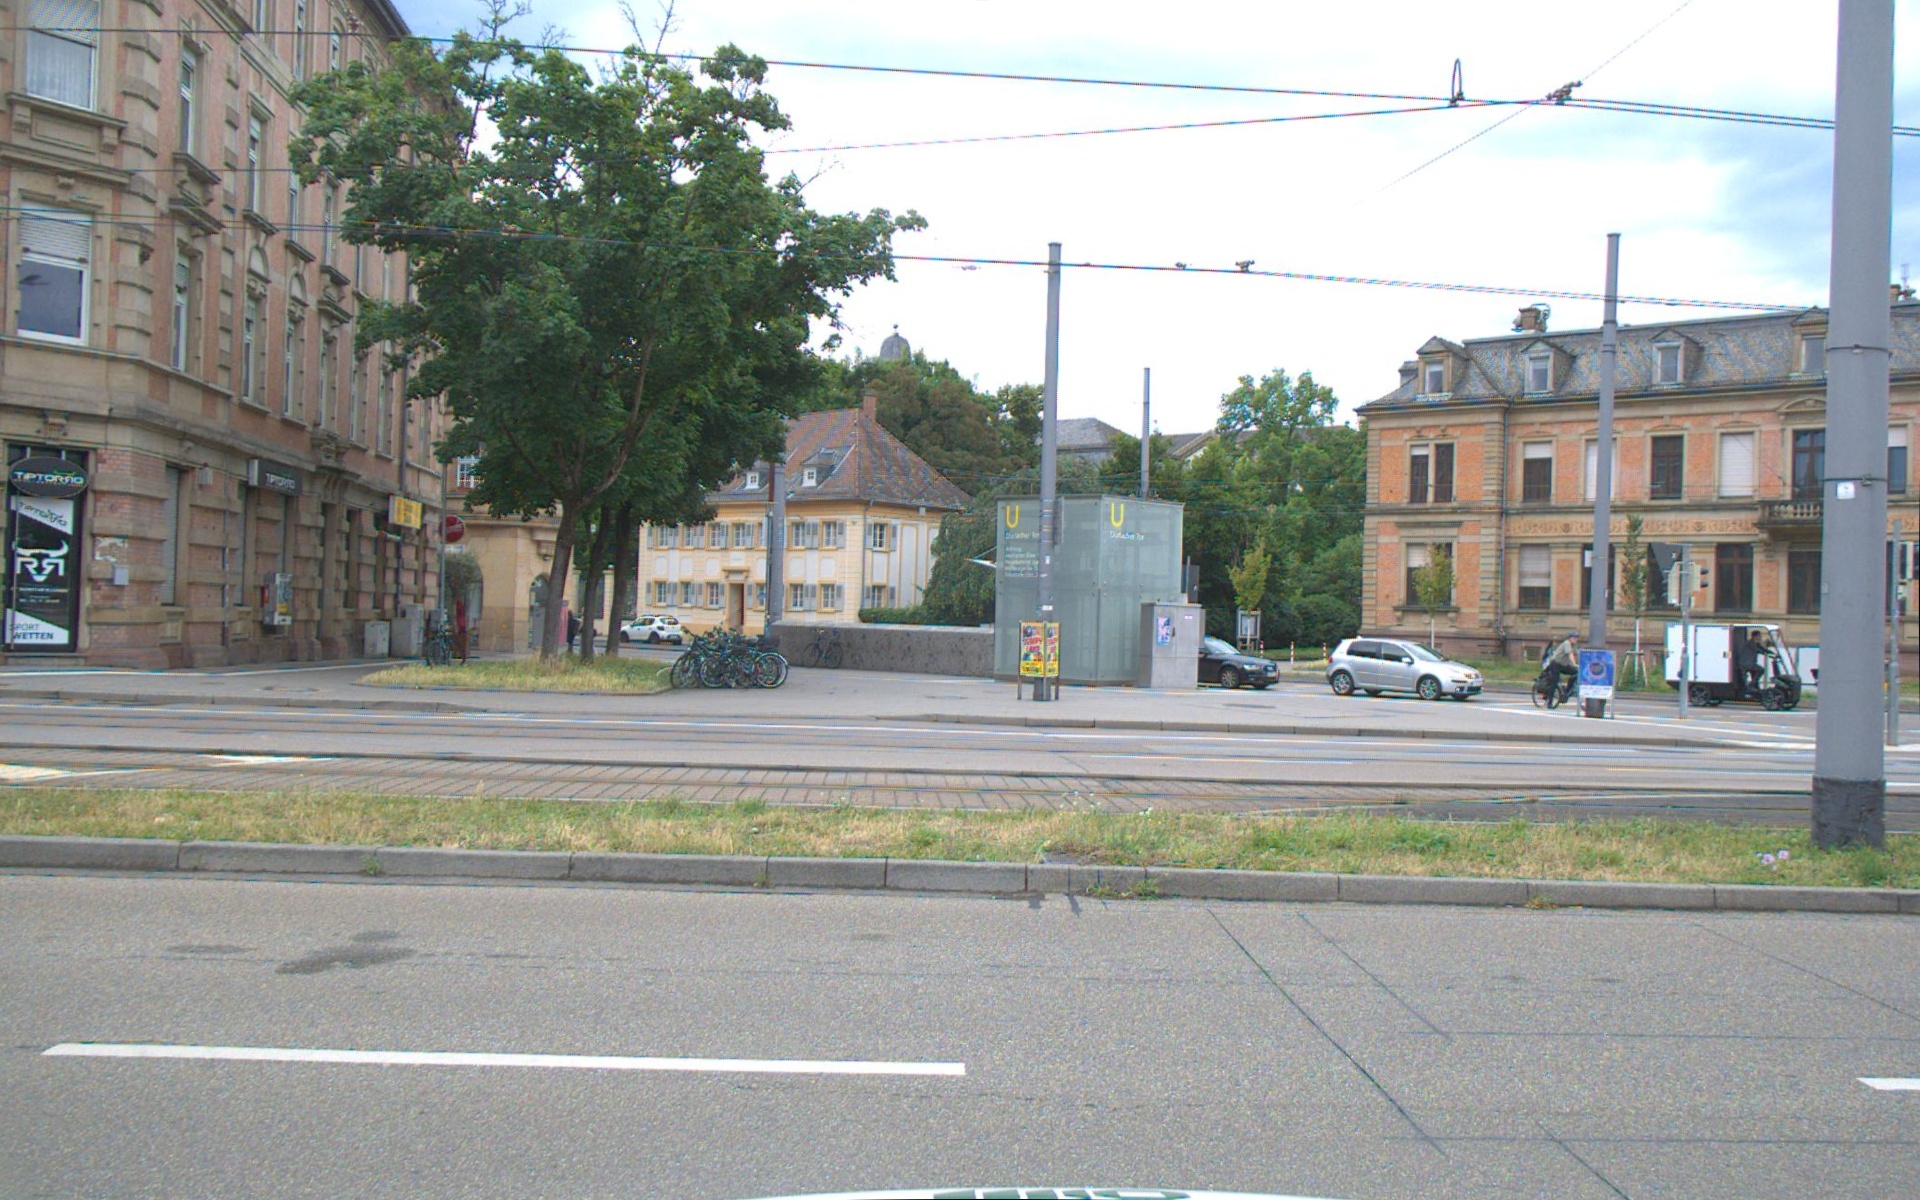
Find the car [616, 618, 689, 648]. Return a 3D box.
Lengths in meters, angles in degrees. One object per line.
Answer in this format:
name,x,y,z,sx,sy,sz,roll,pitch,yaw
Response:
car,-16.426,1.740,88.245,4.113,1.474,1.687,1,0,42

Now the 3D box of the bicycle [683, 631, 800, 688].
bicycle,-4.221,1.154,31.982,2.167,1.024,0.480,2,-1,4

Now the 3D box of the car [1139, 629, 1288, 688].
car,7.114,1.635,46.685,1.681,1.474,4.083,2,0,-40

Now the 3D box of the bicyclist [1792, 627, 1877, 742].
bicyclist,14.195,1.349,26.878,0.797,1.830,1.029,0,-1,-3

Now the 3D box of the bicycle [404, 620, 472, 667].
bicycle,-10.924,0.903,34.668,0.646,0.930,1.990,2,0,4

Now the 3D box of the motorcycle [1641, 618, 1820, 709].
motorcycle,18.841,1.512,40.539,3.625,2.049,1.684,1,-1,44

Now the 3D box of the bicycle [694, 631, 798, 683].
bicycle,-4.755,1.263,36.860,2.167,1.057,0.689,2,-1,4

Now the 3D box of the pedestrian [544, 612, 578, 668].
pedestrian,-12.586,1.256,52.222,0.827,1.753,0.952,2,-1,-2

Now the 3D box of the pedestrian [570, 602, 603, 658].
pedestrian,-12.029,0.955,53.339,0.827,1.753,0.952,2,-1,-2

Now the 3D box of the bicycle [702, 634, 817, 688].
bicycle,-3.961,1.202,32.743,2.167,1.004,0.500,2,-1,4

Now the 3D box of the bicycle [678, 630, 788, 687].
bicycle,-4.304,1.107,31.421,1.988,1.004,0.522,2,-1,4

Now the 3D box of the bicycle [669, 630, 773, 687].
bicycle,-4.429,1.082,30.670,1.824,1.004,0.500,2,-1,3

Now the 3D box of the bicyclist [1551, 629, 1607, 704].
bicyclist,14.002,1.506,37.426,0.849,1.651,0.902,3,-2,-45

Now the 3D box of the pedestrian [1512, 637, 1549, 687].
pedestrian,20.875,2.257,60.485,1.104,1.794,0.756,1,-1,33

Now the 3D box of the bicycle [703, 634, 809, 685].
bicycle,-4.388,1.279,35.632,2.167,1.004,0.585,2,-1,4

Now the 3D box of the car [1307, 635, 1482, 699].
car,11.142,1.692,42.607,1.746,1.479,4.098,2,-1,-41

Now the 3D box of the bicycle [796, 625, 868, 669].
bicycle,-3.605,1.307,46.522,0.734,1.134,2.326,2,-1,-42

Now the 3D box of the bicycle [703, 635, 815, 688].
bicycle,-4.127,1.250,34.004,2.167,1.004,0.611,2,-1,4

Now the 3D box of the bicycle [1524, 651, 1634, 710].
bicycle,13.986,1.806,37.420,0.851,1.229,2.162,3,-2,-44

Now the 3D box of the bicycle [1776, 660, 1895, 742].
bicycle,14.192,1.617,26.887,0.797,1.264,1.998,1,-2,-3
